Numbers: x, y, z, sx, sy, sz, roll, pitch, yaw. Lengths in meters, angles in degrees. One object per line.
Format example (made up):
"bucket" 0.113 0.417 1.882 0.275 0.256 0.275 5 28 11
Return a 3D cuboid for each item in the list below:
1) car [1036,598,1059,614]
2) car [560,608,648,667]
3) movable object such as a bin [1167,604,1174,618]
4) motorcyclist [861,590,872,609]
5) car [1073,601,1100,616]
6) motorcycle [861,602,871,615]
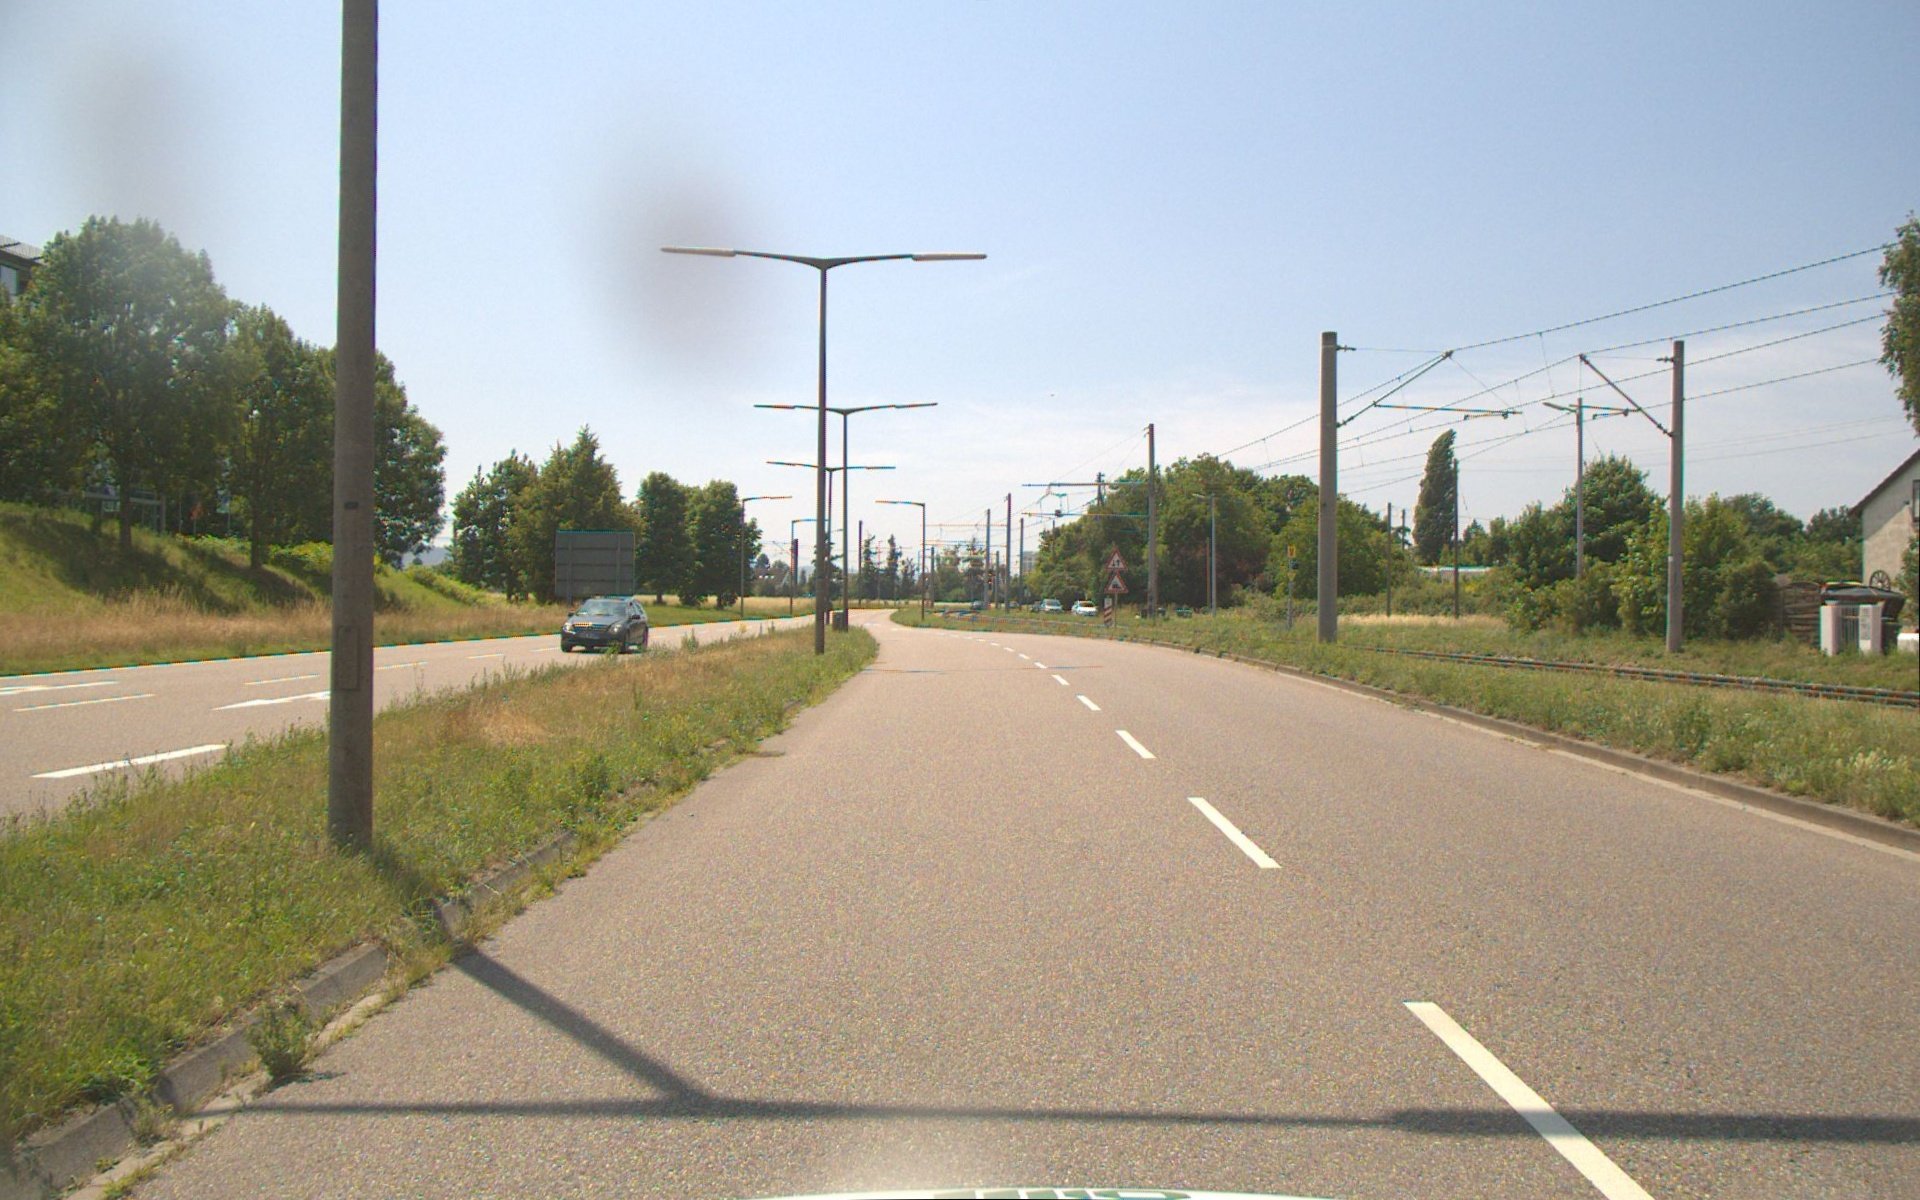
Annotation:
"car" 8.241 0.607 155.821 1.639 1.422 3.646 2 -1 -5
"car" -9.697 0.996 45.350 1.658 1.518 3.998 0 0 -2
"movable object such as a bin" 16.063 0.838 126.446 0.513 1.068 0.500 0 0 6
"motorcyclist" -11.836 -0.027 209.757 1.205 2.392 1.107 2 -1 1
"car" 10.096 0.679 132.282 1.533 1.200 3.074 0 0 -7
"motorcycle" -11.906 1.068 209.701 0.969 1.608 3.401 2 -1 2
